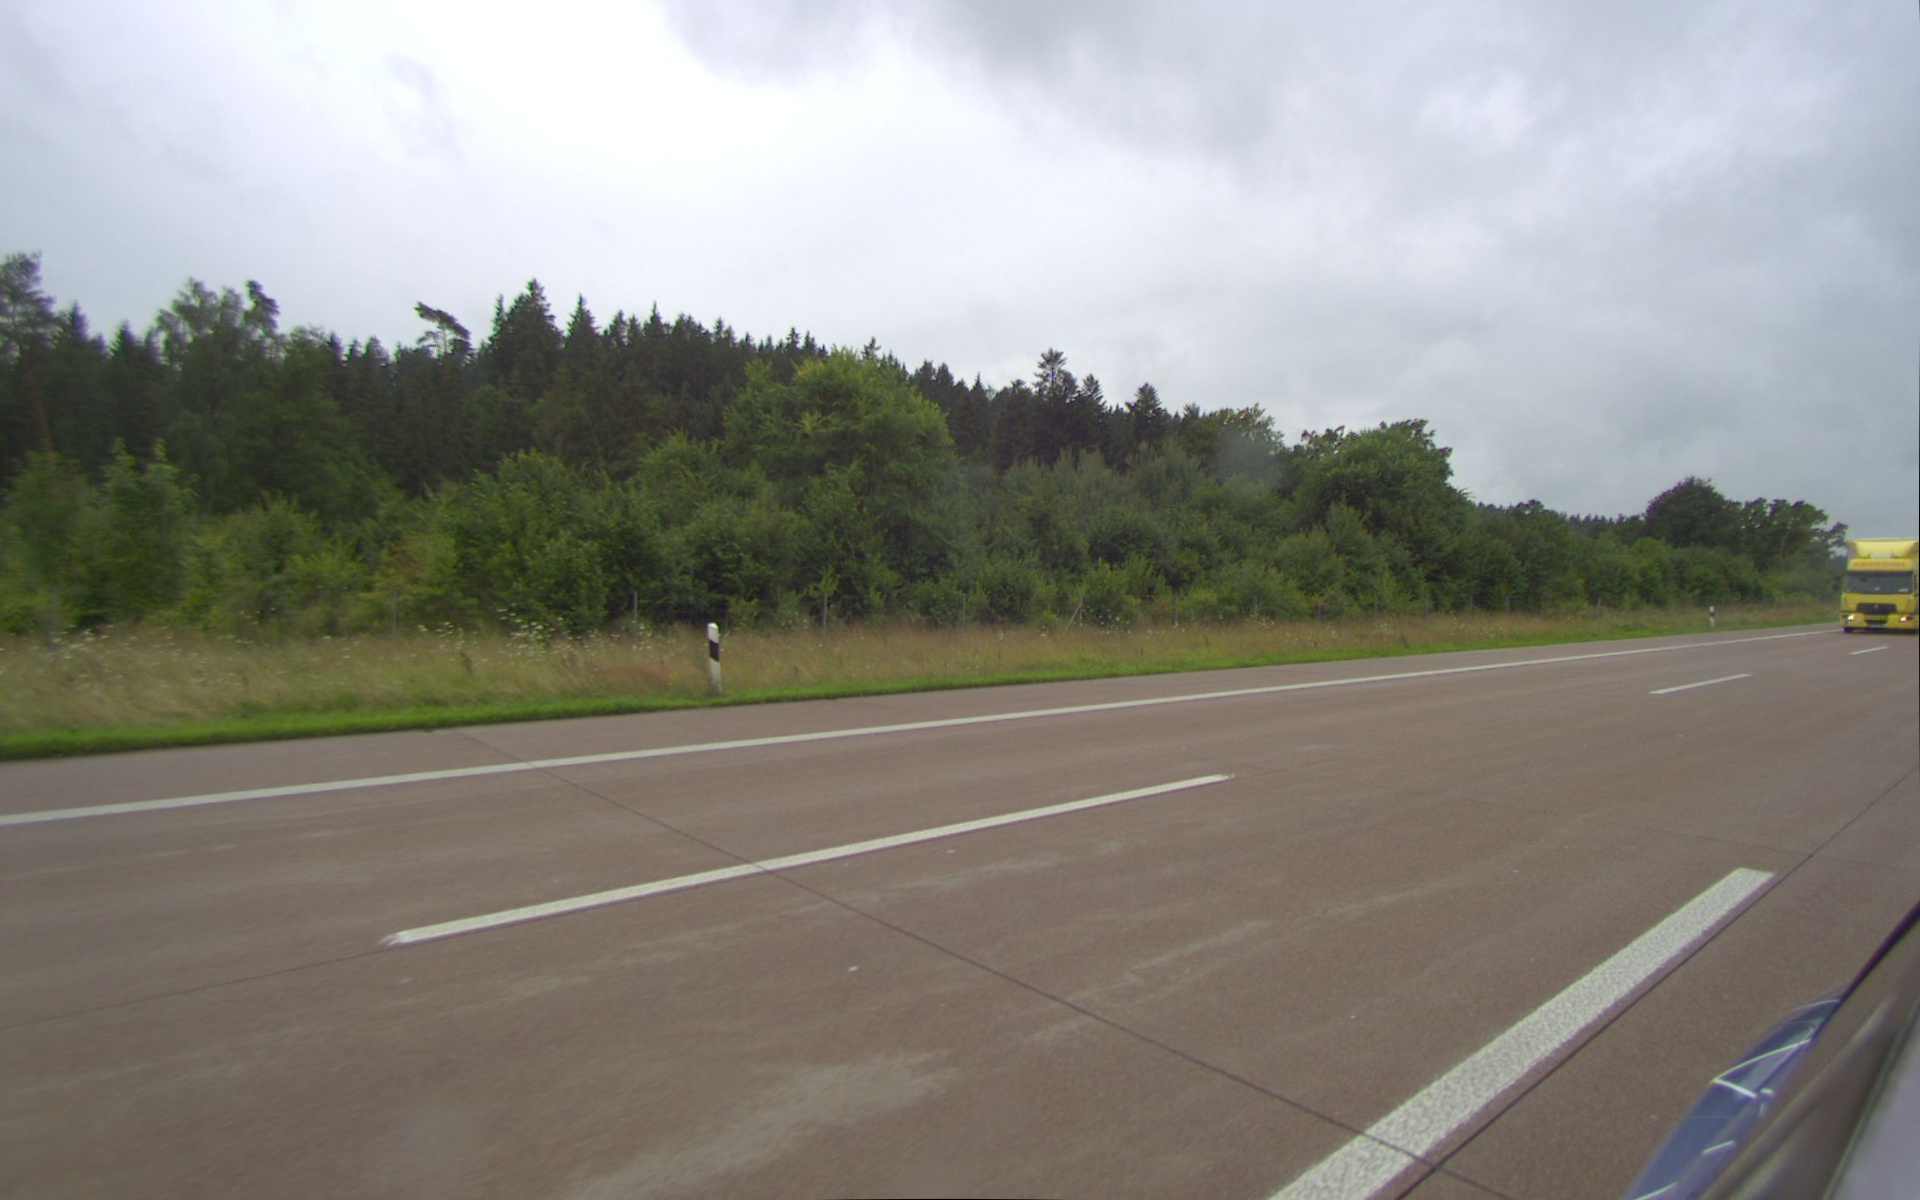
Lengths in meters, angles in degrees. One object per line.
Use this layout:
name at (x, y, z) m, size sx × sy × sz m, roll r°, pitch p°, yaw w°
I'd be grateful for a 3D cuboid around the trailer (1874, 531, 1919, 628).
trailer at (47.488, -1.025, 49.157) m, size 13.829 × 4.281 × 2.571 m, roll -1°, pitch 1°, yaw -40°

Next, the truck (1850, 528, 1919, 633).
truck at (40.624, -0.849, 43.496) m, size 6.139 × 4.267 × 2.609 m, roll -1°, pitch 1°, yaw -39°
